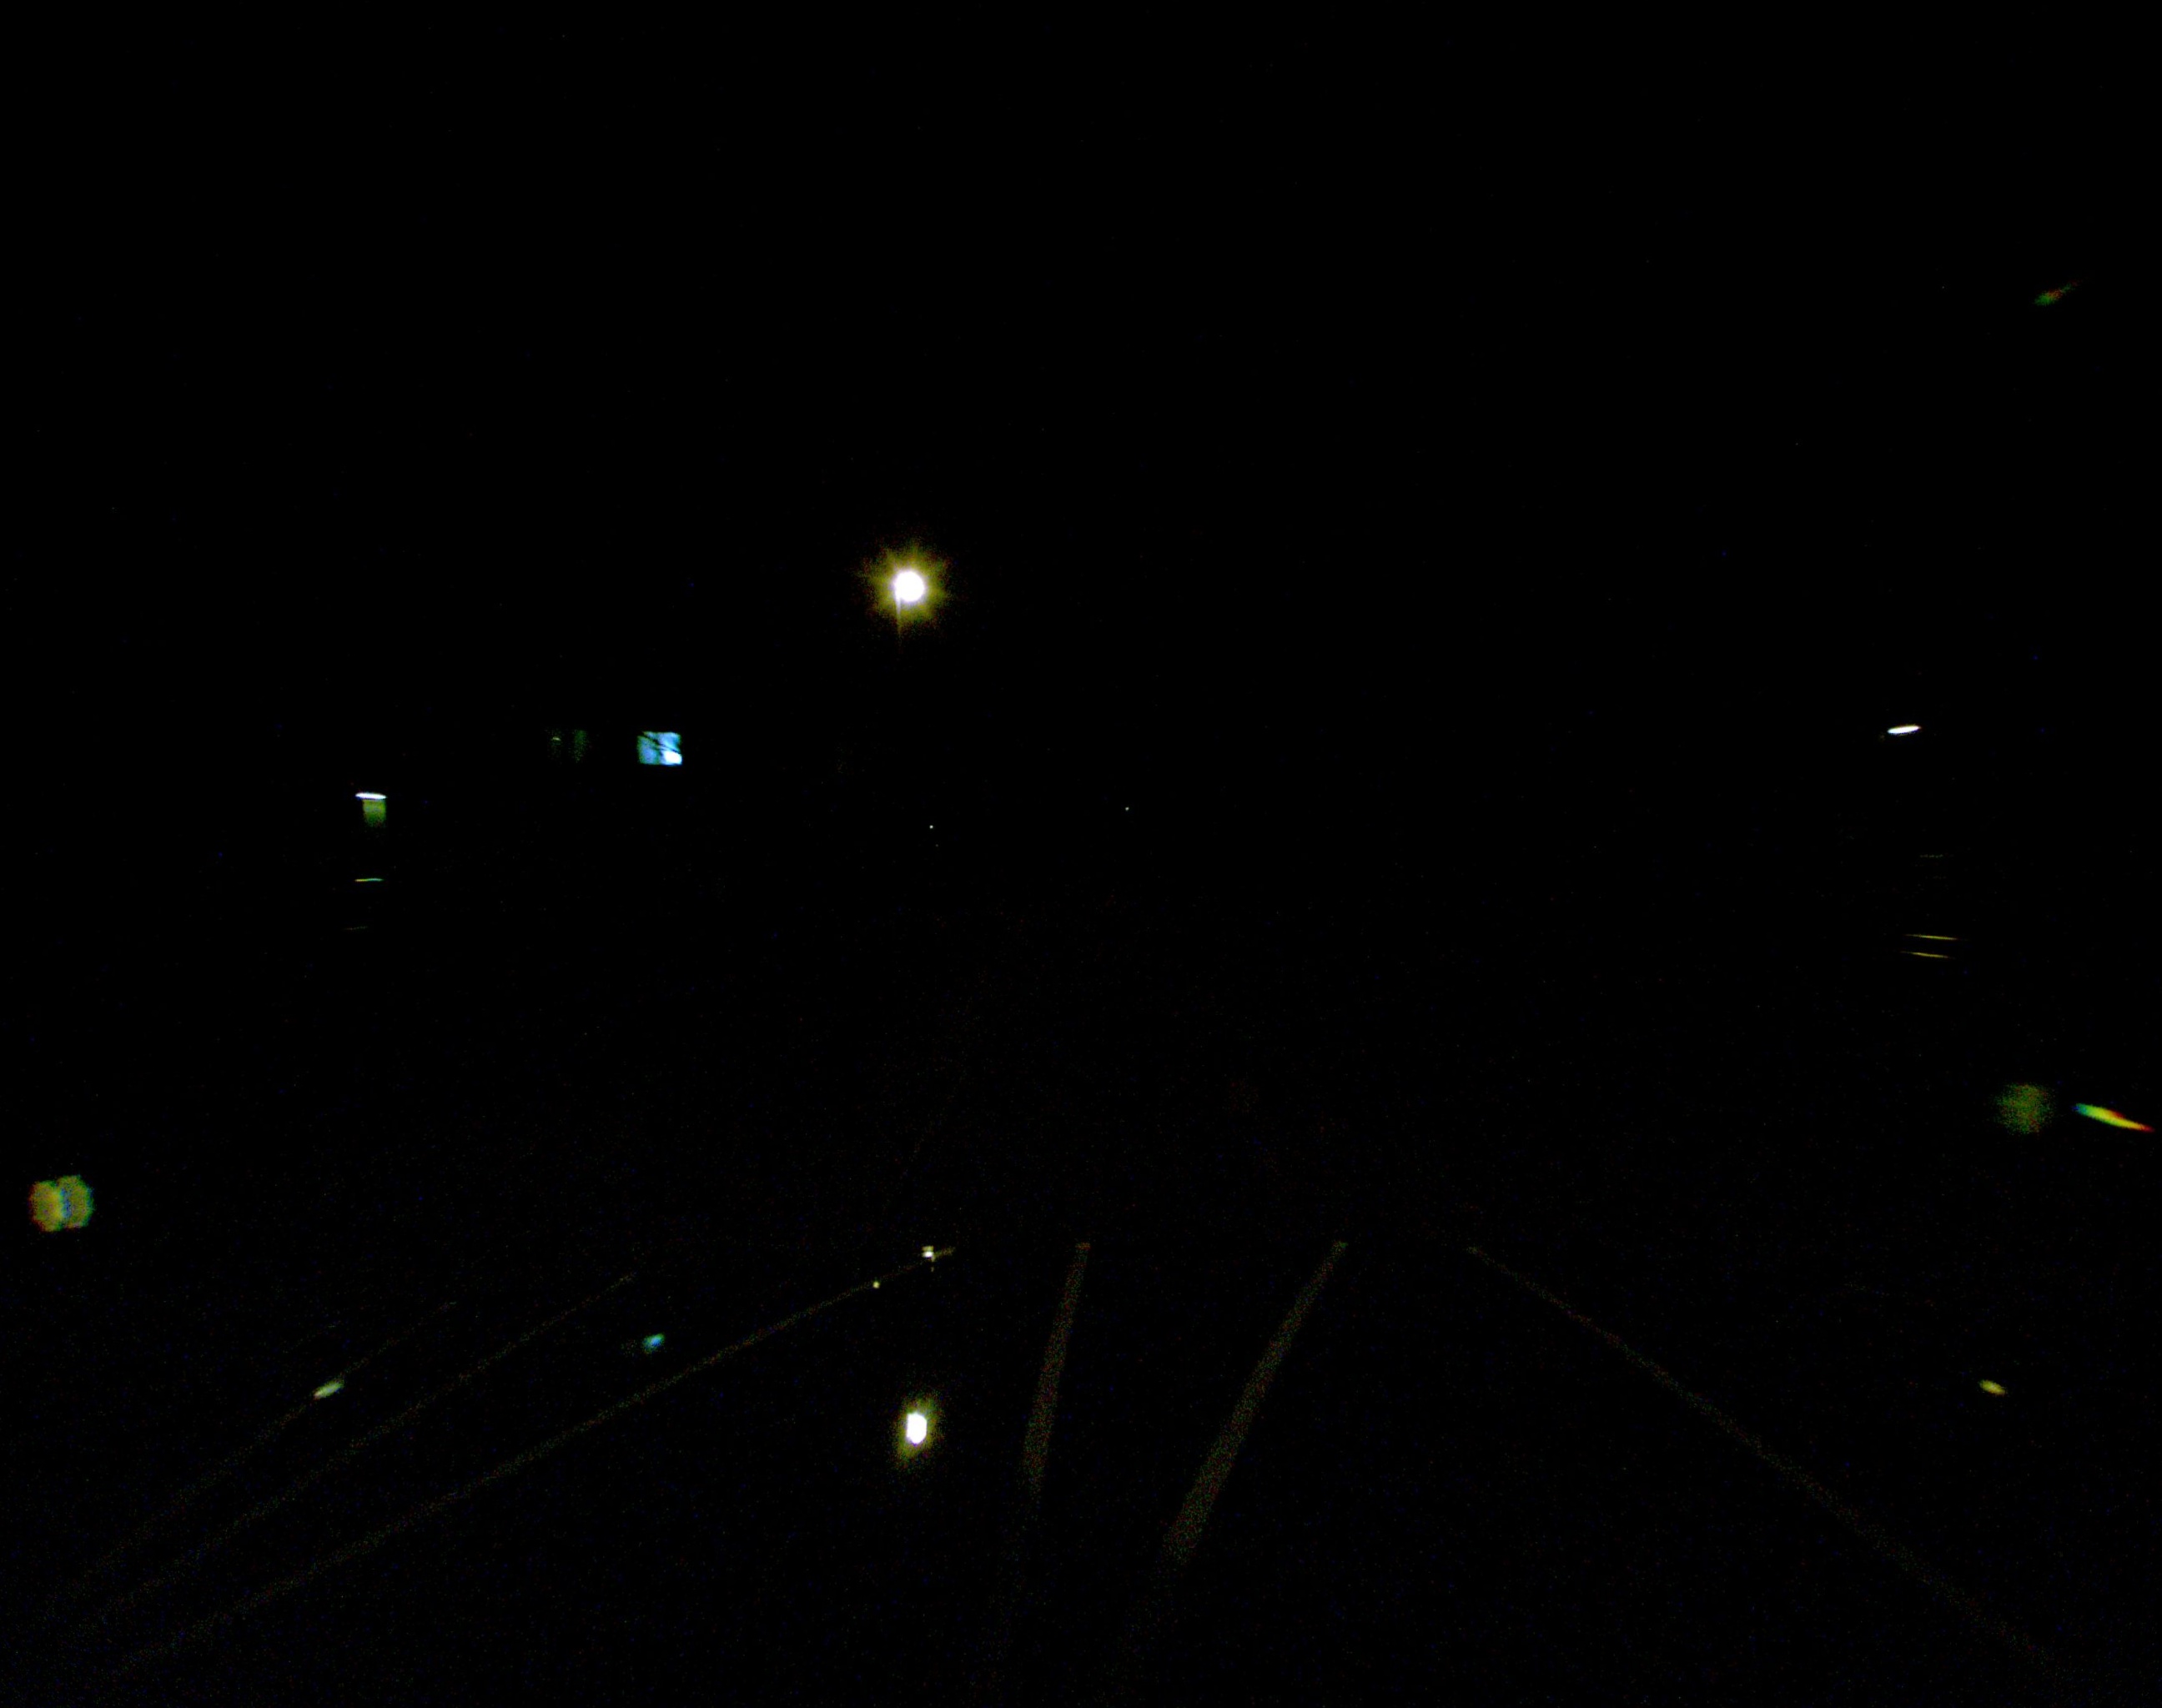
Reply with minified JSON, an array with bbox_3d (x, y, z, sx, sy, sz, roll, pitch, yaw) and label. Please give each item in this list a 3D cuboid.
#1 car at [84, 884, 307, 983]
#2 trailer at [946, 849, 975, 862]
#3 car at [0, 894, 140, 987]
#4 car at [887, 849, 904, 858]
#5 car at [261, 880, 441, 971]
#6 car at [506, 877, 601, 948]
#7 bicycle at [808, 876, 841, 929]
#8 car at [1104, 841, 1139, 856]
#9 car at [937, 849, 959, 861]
[{"bbox_3d":[-18.237,1.527,15.925,1.816,1.606,4.089,-3,1,-32],"label":"car"},{"bbox_3d":[-16.906,0.194,106.274,2.034,1.770,5.659,-1,1,-30],"label":"trailer"},{"bbox_3d":[-20.593,1.644,14.706,1.765,1.506,3.861,-3,1,-32],"label":"car"},{"bbox_3d":[-32.389,-0.090,132.509,1.737,1.357,4.134,0,1,-31],"label":"car"},{"bbox_3d":[-16.011,1.456,16.958,1.926,1.555,4.401,-3,1,-32],"label":"car"},{"bbox_3d":[-13.354,1.402,19.409,1.710,1.496,3.584,-3,1,-31],"label":"car"},{"bbox_3d":[-5.849,1.086,17.397,0.296,0.977,1.942,-2,3,-7],"label":"bicycle"},{"bbox_3d":[5.129,-0.666,95.887,4.005,1.600,1.752,-5,4,-28],"label":"car"},{"bbox_3d":[-19.469,0.177,110.758,1.725,1.568,4.523,1,1,-29],"label":"car"}]
